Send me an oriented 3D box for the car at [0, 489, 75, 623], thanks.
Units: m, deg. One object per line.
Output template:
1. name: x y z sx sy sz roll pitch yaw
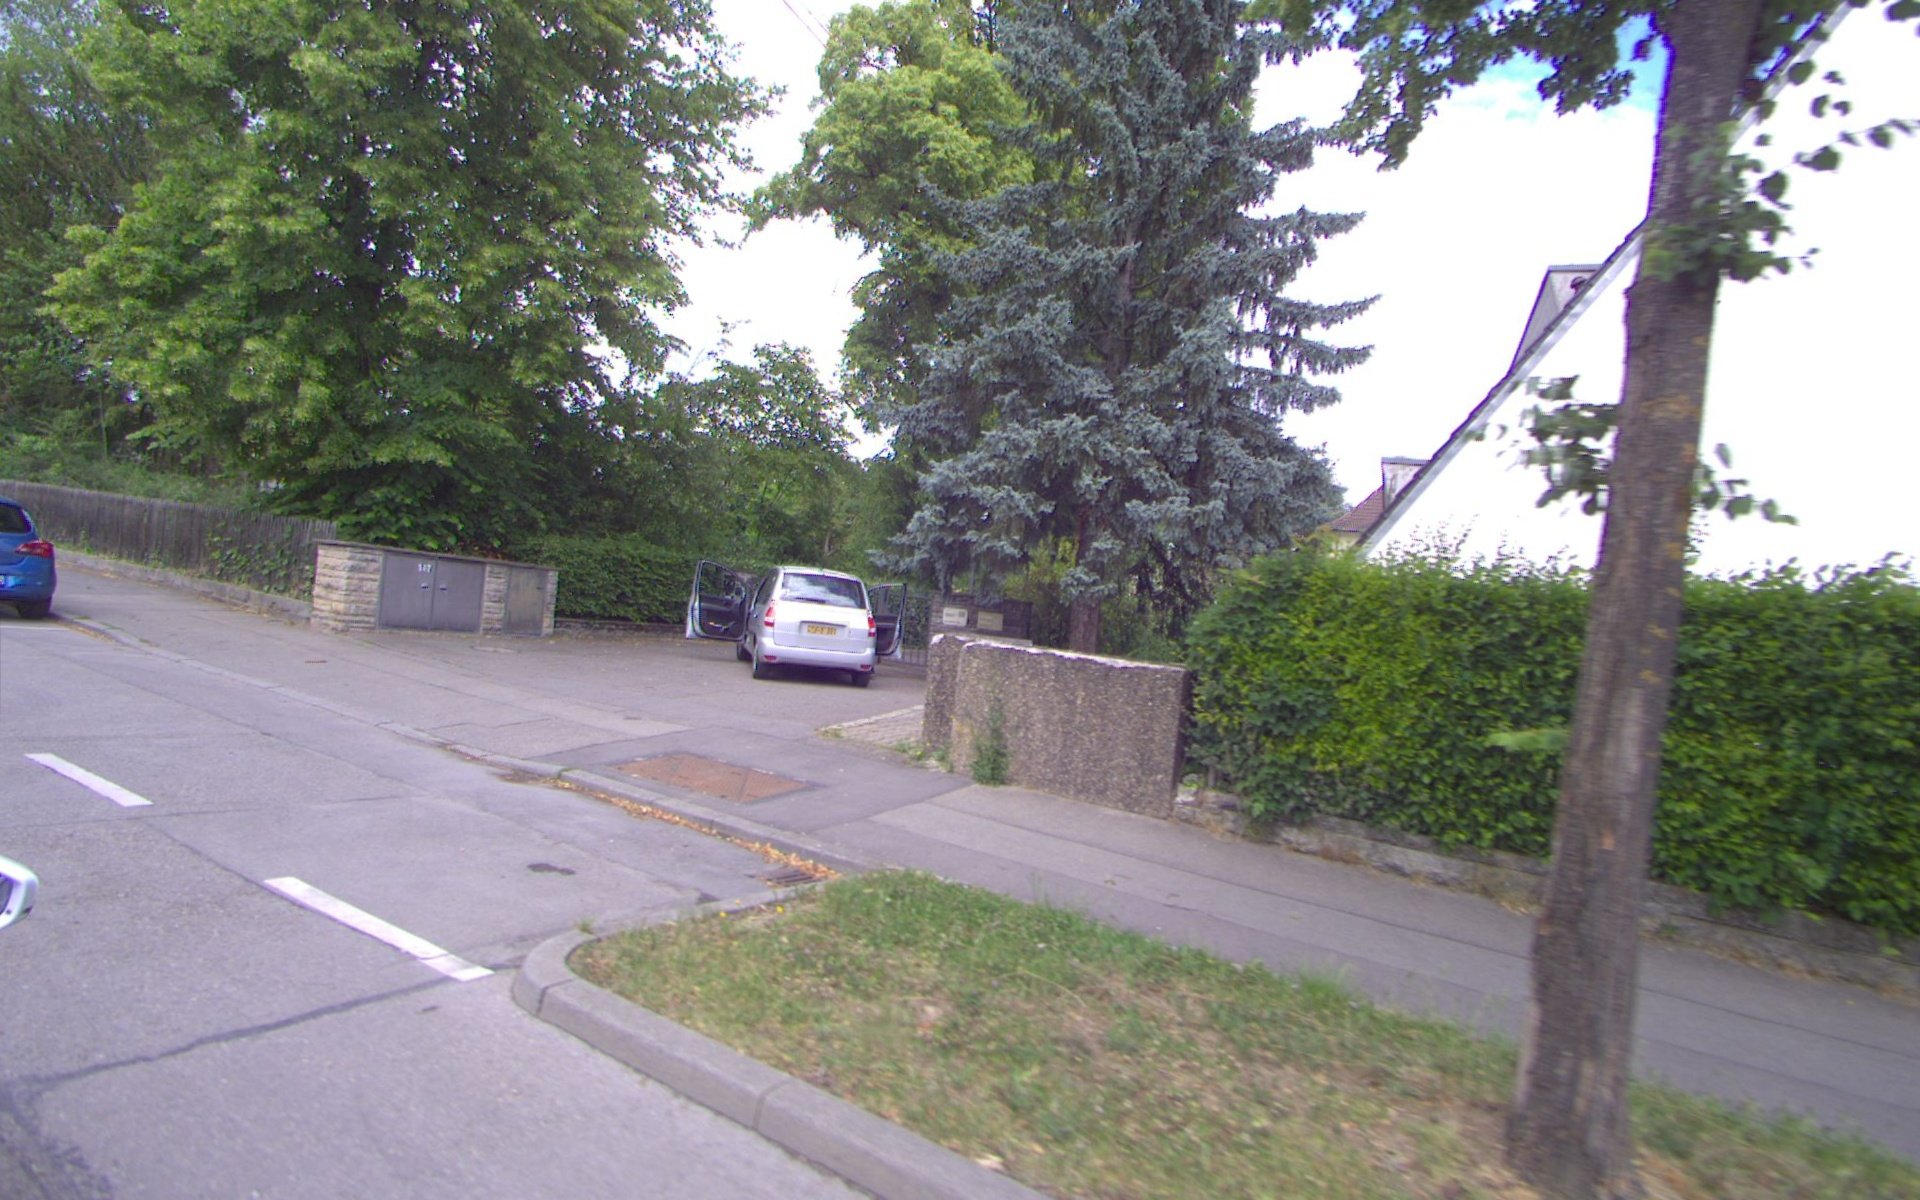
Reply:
1. car: -12.867 -0.733 12.399 3.854 1.519 1.688 7 0 30

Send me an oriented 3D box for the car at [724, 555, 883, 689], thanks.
1. car: -2.566 0.246 15.660 1.789 1.681 3.985 5 1 -17
